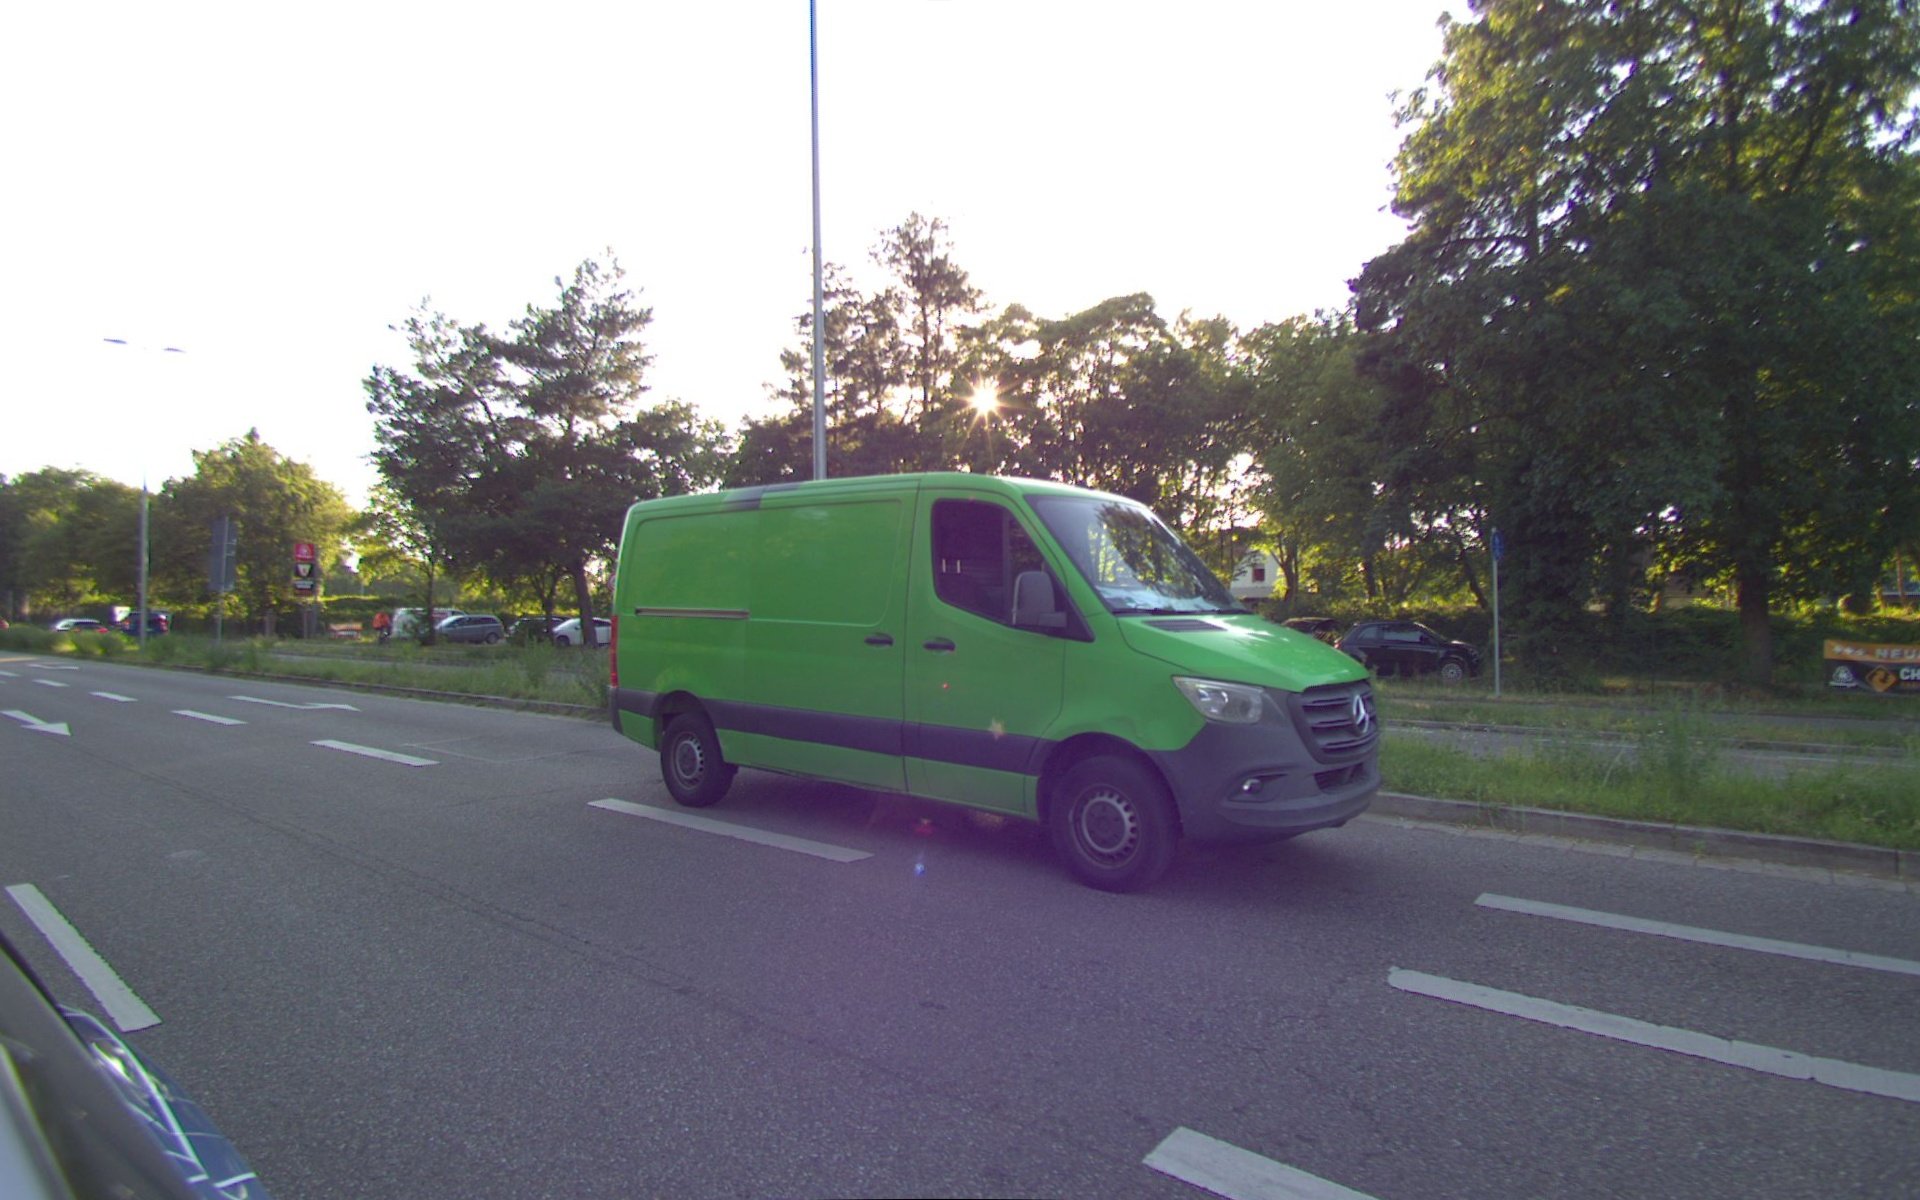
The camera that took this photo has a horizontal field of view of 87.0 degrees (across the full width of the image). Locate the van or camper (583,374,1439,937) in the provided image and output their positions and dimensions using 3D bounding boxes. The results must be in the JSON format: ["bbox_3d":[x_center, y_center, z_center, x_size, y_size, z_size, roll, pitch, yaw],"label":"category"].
[{"bbox_3d":[-0.098,0.298,7.018,5.889,2.439,1.974,-1,-2,39],"label":"van or camper"}]

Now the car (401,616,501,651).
[{"bbox_3d":[-27.471,1.785,54.695,1.907,1.812,4.442,-1,-2,38],"label":"car"}]

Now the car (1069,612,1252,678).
[{"bbox_3d":[5.811,1.271,29.636,4.913,1.800,1.975,-1,-2,37],"label":"car"}]

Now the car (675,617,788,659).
[{"bbox_3d":[-9.376,1.554,41.861,1.769,1.629,4.470,-1,-2,37],"label":"car"}]

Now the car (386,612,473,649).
[{"bbox_3d":[-29.718,1.704,56.749,1.764,1.959,3.948,-1,-2,38],"label":"car"}]

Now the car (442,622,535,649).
[{"bbox_3d":[-23.800,1.790,51.192,1.731,1.322,3.946,-1,-2,40],"label":"car"}]

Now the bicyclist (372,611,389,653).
[{"bbox_3d":[-26.837,1.477,46.829,0.617,1.888,0.454,-1,-2,37],"label":"bicyclist"}]

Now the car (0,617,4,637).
[{"bbox_3d":[-78.948,2.194,81.978,3.996,1.552,1.738,0,1,39],"label":"car"}]

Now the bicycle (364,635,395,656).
[{"bbox_3d":[-26.883,2.087,46.845,2.041,0.940,0.487,-1,-2,37],"label":"bicycle"}]

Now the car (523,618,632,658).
[{"bbox_3d":[-18.037,1.779,47.849,1.908,1.767,4.440,-1,-2,40],"label":"car"}]

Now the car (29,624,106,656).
[{"bbox_3d":[-43.838,1.927,49.697,4.505,1.506,1.975,-1,-2,37],"label":"car"}]

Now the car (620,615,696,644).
[{"bbox_3d":[-17.648,1.715,59.239,1.765,1.663,3.946,-1,-2,40],"label":"car"}]

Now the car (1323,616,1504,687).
[{"bbox_3d":[11.178,1.225,25.041,3.807,1.609,1.838,-1,-2,36],"label":"car"}]

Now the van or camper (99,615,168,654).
[{"bbox_3d":[-45.546,1.883,55.766,4.571,2.029,1.974,-1,-2,38],"label":"van or camper"}]

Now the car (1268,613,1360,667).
[{"bbox_3d":[11.665,1.289,33.230,1.914,1.663,3.953,-1,-2,34],"label":"car"}]
